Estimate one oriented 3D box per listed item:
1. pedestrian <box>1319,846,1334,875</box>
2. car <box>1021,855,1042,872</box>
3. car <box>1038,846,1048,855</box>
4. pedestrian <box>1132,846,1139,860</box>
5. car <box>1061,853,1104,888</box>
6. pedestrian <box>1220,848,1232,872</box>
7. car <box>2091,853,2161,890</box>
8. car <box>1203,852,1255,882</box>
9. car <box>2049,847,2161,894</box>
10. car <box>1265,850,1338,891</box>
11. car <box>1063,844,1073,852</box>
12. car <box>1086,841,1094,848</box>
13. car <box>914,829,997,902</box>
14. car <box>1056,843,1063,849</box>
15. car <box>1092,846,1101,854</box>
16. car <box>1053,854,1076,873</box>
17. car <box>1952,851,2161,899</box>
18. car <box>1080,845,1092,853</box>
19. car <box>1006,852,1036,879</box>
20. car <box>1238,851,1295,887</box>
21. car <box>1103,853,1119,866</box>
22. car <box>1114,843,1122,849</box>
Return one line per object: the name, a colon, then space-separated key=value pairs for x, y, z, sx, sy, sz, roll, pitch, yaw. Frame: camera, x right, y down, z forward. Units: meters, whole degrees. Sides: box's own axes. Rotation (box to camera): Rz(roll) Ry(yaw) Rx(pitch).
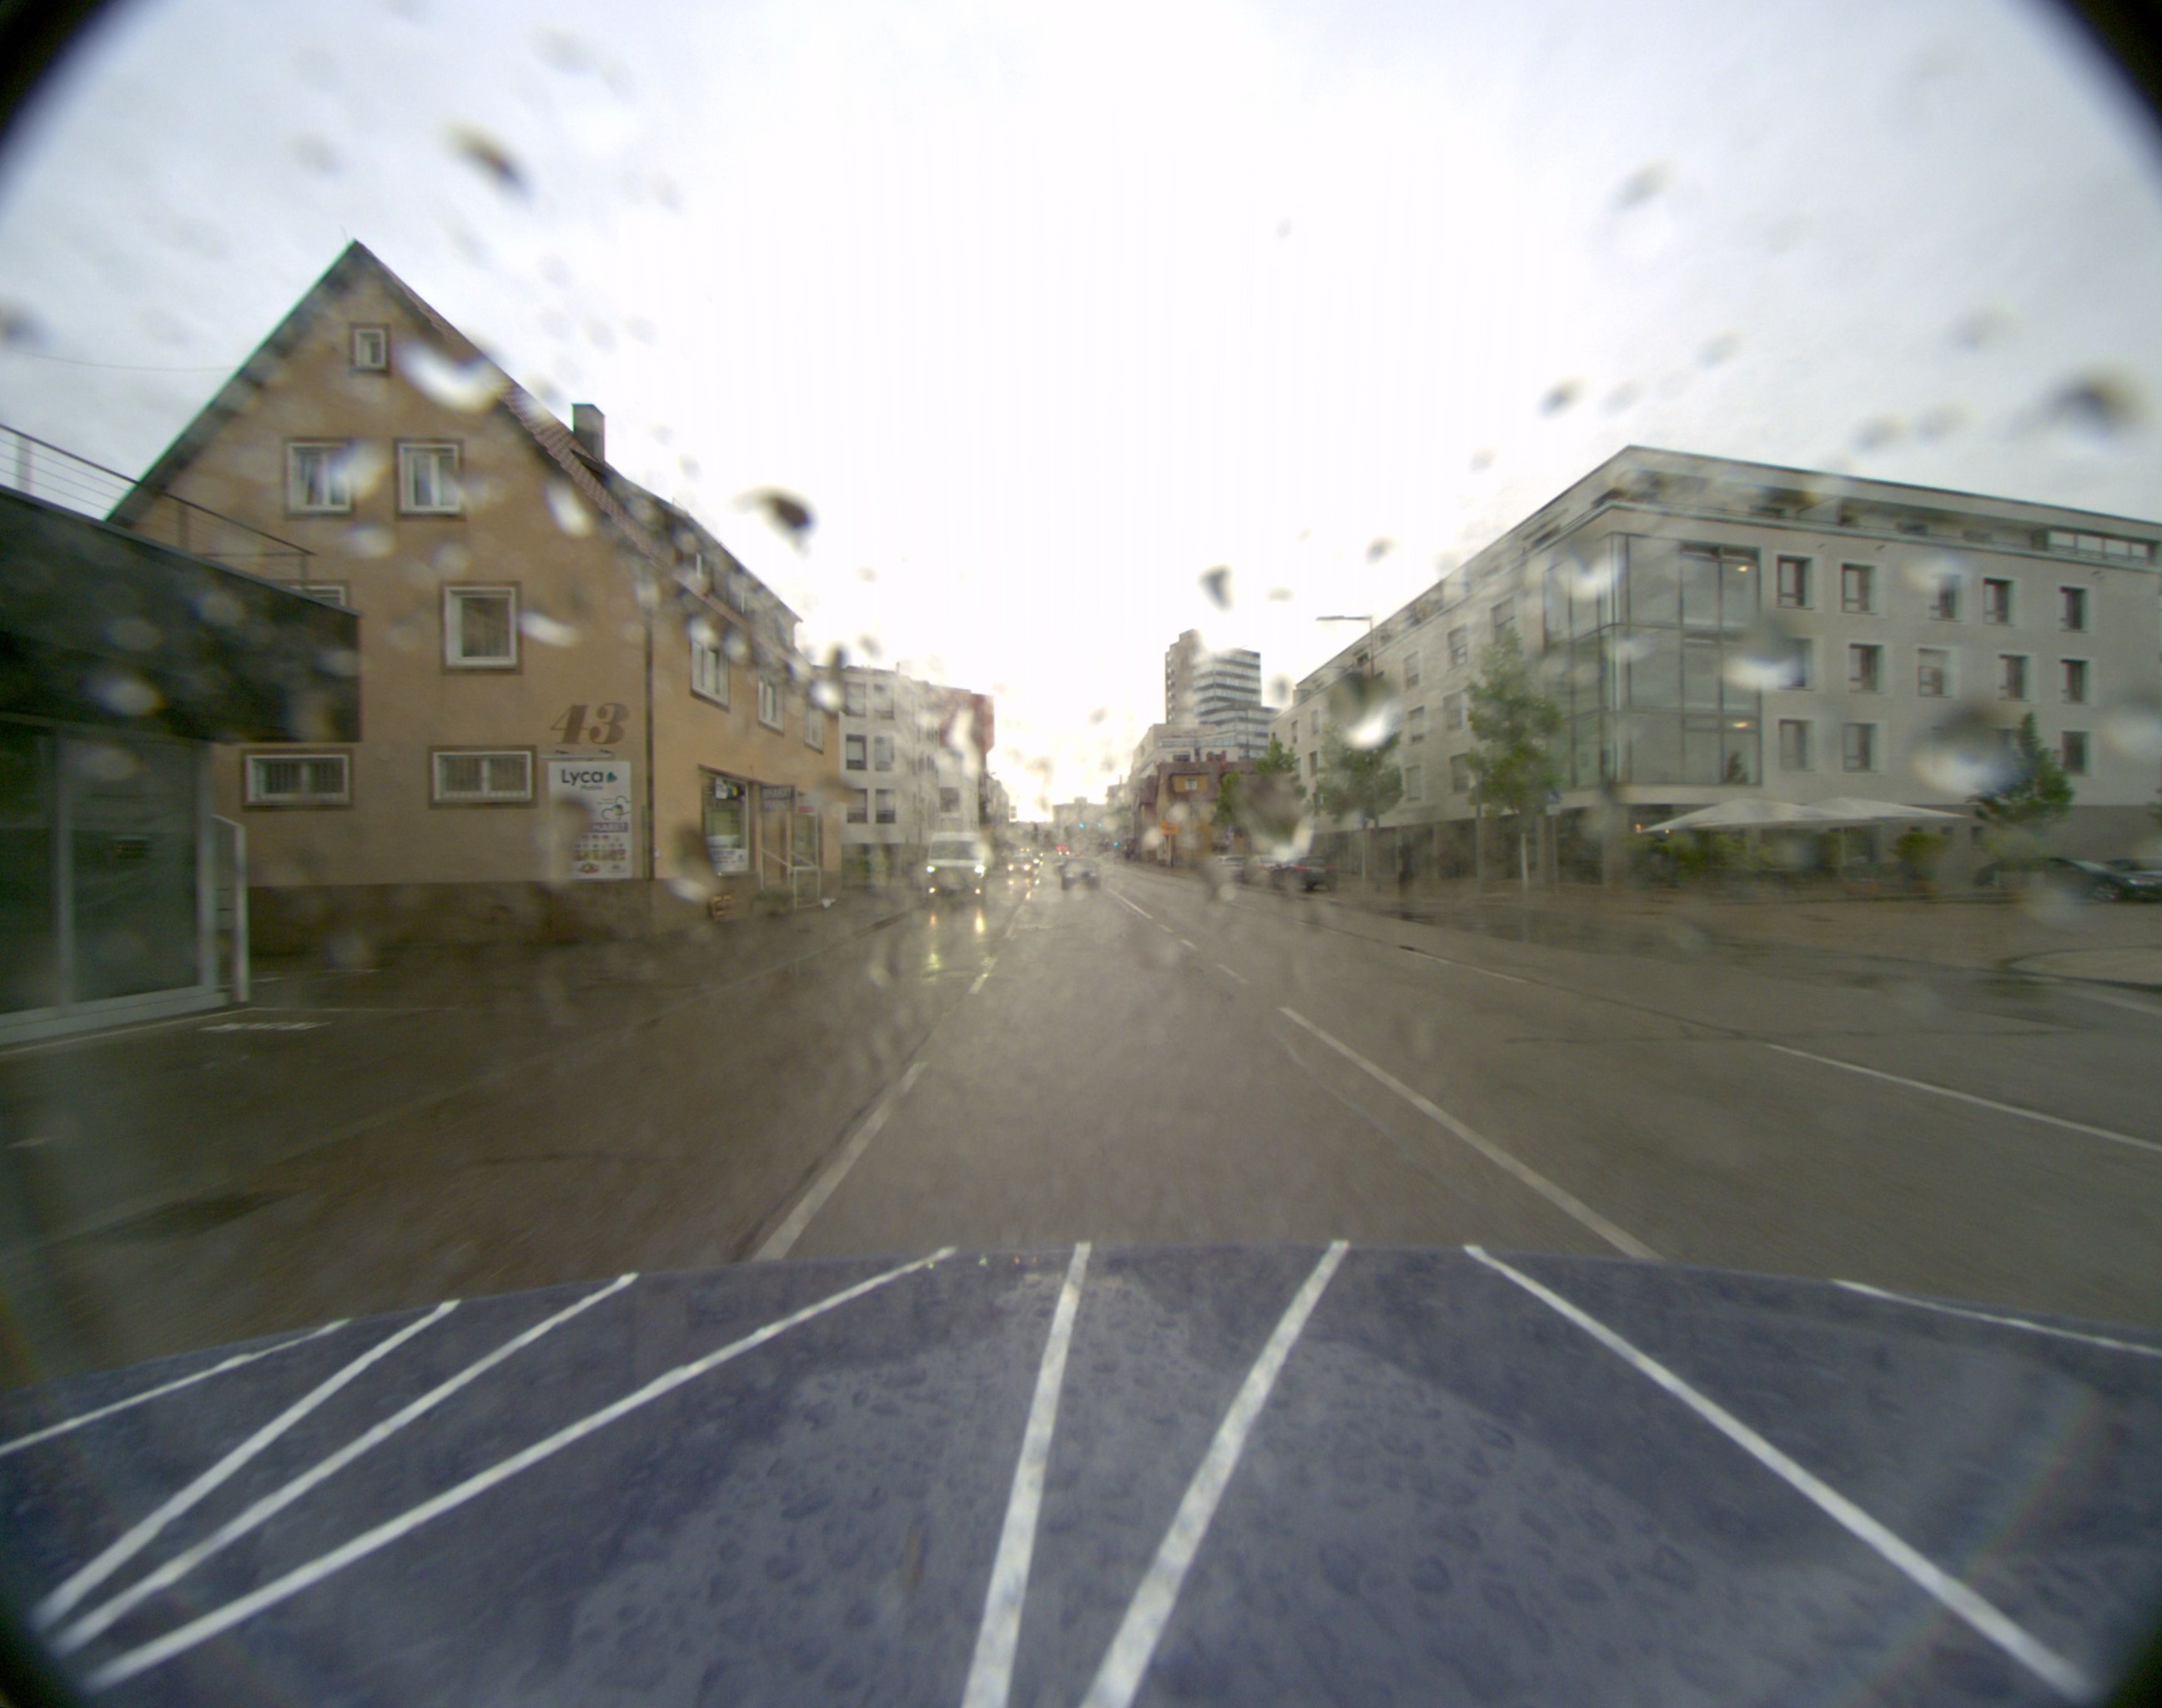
pedestrian: x=15.092 y=0.409 z=46.765 sx=0.810 sy=1.728 sz=1.004 roll=0 pitch=2 yaw=14
car: x=-5.409 y=1.018 z=82.627 sx=2.059 sy=1.638 sz=4.476 roll=-1 pitch=2 yaw=-5
car: x=-6.252 y=-0.571 z=123.831 sx=1.507 sy=1.342 sz=3.724 roll=0 pitch=2 yaw=-6
pedestrian: x=7.309 y=-0.118 z=101.609 sx=0.663 sy=1.910 sz=0.946 roll=-3 pitch=2 yaw=-10
car: x=0.017 y=0.728 z=35.154 sx=1.689 sy=1.373 sz=3.791 roll=-2 pitch=2 yaw=-4
pedestrian: x=11.021 y=0.460 z=57.921 sx=0.802 sy=1.778 sz=0.882 roll=0 pitch=2 yaw=3
car: x=37.572 y=0.610 z=26.046 sx=1.398 sy=1.214 sz=3.254 roll=-1 pitch=2 yaw=-18
car: x=8.290 y=0.695 z=42.914 sx=1.800 sy=1.454 sz=4.475 roll=-1 pitch=2 yaw=-4
car: x=35.212 y=0.517 z=25.239 sx=1.503 sy=1.451 sz=3.428 roll=-1 pitch=2 yaw=-19
car: x=9.007 y=0.617 z=31.339 sx=1.591 sy=1.573 sz=4.469 roll=0 pitch=0 yaw=-2
car: x=-2.570 y=-1.243 z=146.847 sx=1.720 sy=1.442 sz=4.195 roll=0 pitch=2 yaw=-3
car: x=2.210 y=-2.435 z=186.167 sx=2.006 sy=1.608 sz=4.947 roll=0 pitch=2 yaw=1
car: x=-4.455 y=0.284 z=28.120 sx=2.297 sy=2.369 sz=6.620 roll=0 pitch=2 yaw=-3
car: x=-5.435 y=-1.987 z=192.325 sx=1.712 sy=1.508 sz=4.389 roll=0 pitch=2 yaw=-4
car: x=3.017 y=-0.872 z=148.933 sx=1.654 sy=1.410 sz=4.136 roll=2 pitch=2 yaw=-1
car: x=-1.282 y=0.713 z=58.218 sx=1.662 sy=1.300 sz=3.992 roll=0 pitch=2 yaw=-3
car: x=32.148 y=0.618 z=24.833 sx=1.796 sy=1.288 sz=4.462 roll=-1 pitch=2 yaw=-18
car: x=0.867 y=-0.932 z=134.513 sx=1.773 sy=1.406 sz=4.523 roll=0 pitch=2 yaw=-2
car: x=-4.244 y=0.789 z=54.266 sx=2.017 sy=1.613 sz=4.357 roll=-2 pitch=3 yaw=-4
car: x=8.948 y=0.676 z=36.974 sx=1.695 sy=1.501 sz=4.576 roll=0 pitch=2 yaw=1
car: x=3.832 y=0.664 z=97.982 sx=1.885 sy=1.515 sz=4.182 roll=0 pitch=2 yaw=-1
car: x=9.189 y=-2.076 z=190.303 sx=1.758 sy=1.402 sz=3.728 roll=0 pitch=2 yaw=-2
